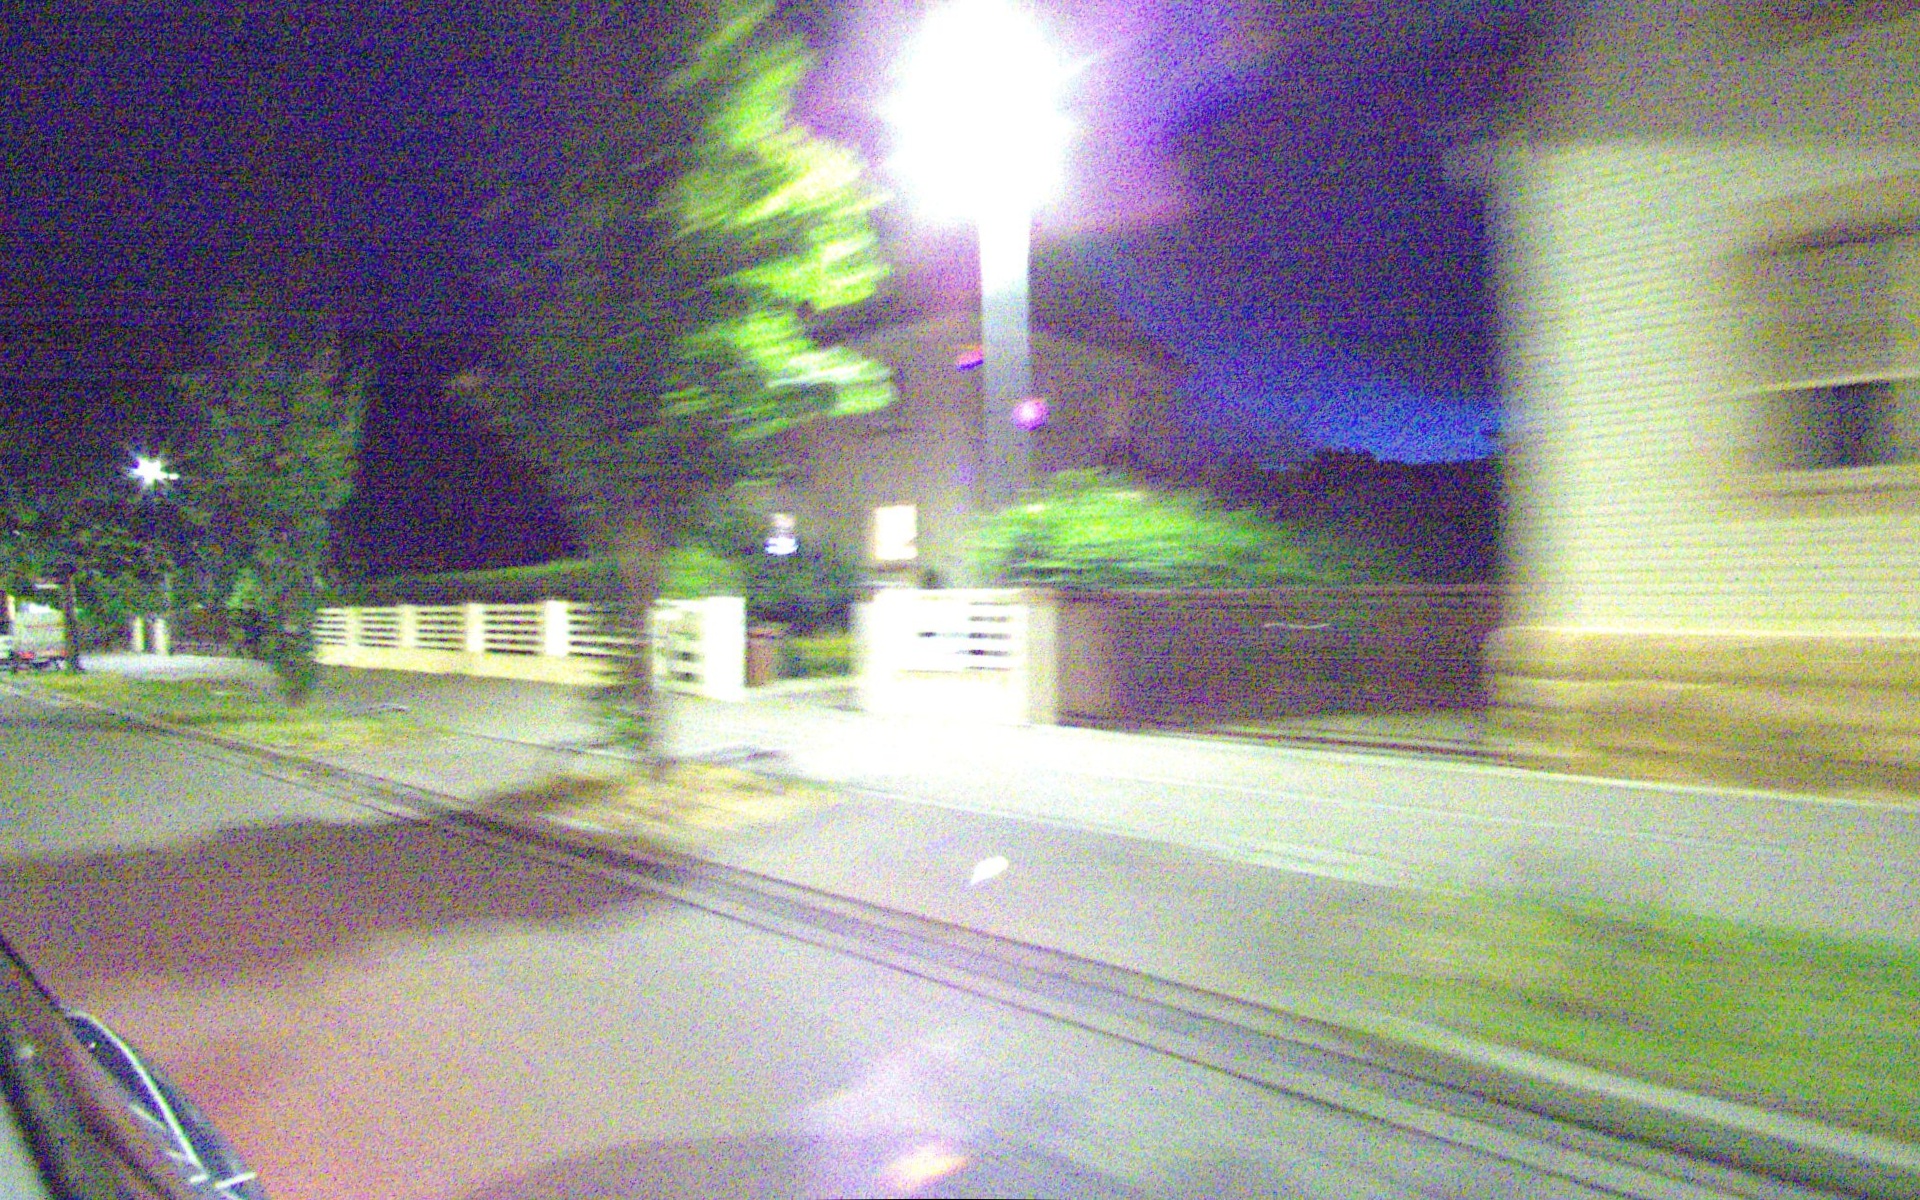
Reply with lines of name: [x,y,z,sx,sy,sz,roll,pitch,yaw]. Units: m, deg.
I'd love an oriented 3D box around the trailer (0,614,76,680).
trailer: [-26.721,1.324,29.198,3.426,1.700,1.432,-1,2,44]

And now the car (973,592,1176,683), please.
car: [2.072,0.599,17.492,1.580,1.390,3.878,-2,-1,41]

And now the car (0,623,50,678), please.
car: [-29.369,1.549,31.058,2.976,1.533,1.655,-2,2,40]
